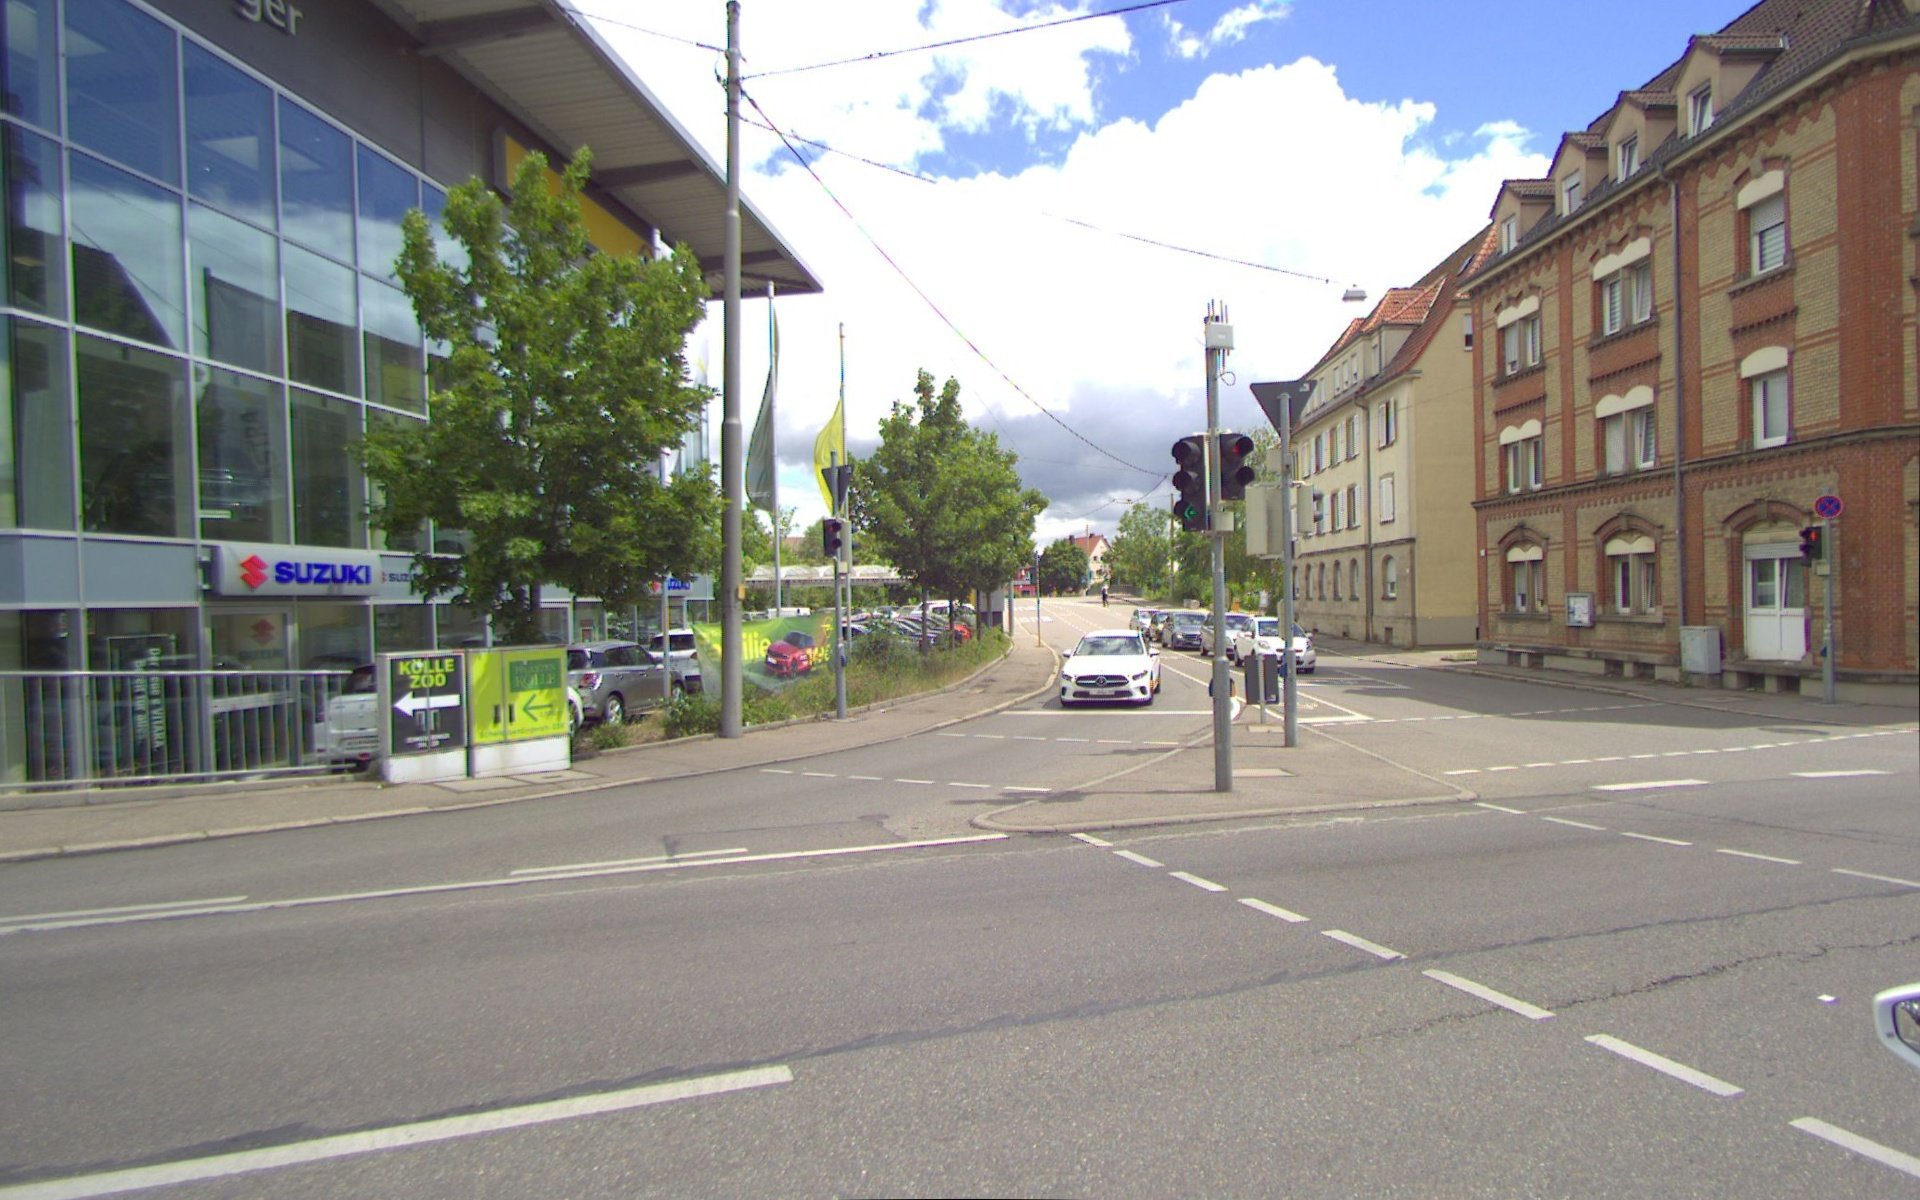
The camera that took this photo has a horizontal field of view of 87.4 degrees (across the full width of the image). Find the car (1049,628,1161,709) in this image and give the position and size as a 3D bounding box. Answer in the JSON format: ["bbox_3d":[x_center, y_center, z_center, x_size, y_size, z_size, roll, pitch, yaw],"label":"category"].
[{"bbox_3d":[3.085,1.326,20.634,1.825,1.466,4.394,-2,-2,14],"label":"car"}]

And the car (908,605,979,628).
[{"bbox_3d":[-0.956,0.965,59.315,3.919,1.311,1.819,1,-1,8],"label":"car"}]

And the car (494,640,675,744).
[{"bbox_3d":[-6.609,1.563,18.126,1.486,1.543,3.795,1,-1,6],"label":"car"}]

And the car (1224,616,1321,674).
[{"bbox_3d":[9.052,1.260,29.398,1.668,1.517,4.001,1,-1,1],"label":"car"}]

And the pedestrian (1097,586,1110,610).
[{"bbox_3d":[12.255,-0.170,85.523,0.945,2.040,0.867,1,0,18],"label":"pedestrian"}]

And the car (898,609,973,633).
[{"bbox_3d":[-1.354,1.171,56.533,3.919,1.311,1.819,1,-1,8],"label":"car"}]

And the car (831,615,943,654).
[{"bbox_3d":[-2.730,1.289,37.940,3.919,1.371,1.734,1,0,8],"label":"car"}]

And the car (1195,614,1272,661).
[{"bbox_3d":[9.673,1.305,35.855,1.713,1.539,4.001,1,-1,1],"label":"car"}]

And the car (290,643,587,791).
[{"bbox_3d":[-7.019,1.491,13.991,1.720,1.596,3.689,2,0,10],"label":"car"}]

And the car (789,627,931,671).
[{"bbox_3d":[-2.971,1.443,30.247,3.919,1.202,1.819,1,-1,8],"label":"car"}]

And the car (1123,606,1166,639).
[{"bbox_3d":[10.153,1.231,55.603,1.906,1.743,4.002,1,-1,4],"label":"car"}]

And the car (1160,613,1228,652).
[{"bbox_3d":[9.713,1.316,42.007,1.960,1.539,4.001,1,-1,1],"label":"car"}]

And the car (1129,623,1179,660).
[{"bbox_3d":[9.259,1.962,48.204,1.960,1.607,4.348,0,0,6],"label":"car"}]

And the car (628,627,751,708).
[{"bbox_3d":[-5.955,1.447,22.474,1.486,1.596,3.417,1,-1,6],"label":"car"}]

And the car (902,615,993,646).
[{"bbox_3d":[-0.550,1.380,45.958,3.919,1.311,1.819,1,-1,8],"label":"car"}]

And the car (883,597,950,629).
[{"bbox_3d":[-2.914,0.896,68.479,2.205,2.040,4.918,0,-1,32],"label":"car"}]

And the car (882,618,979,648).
[{"bbox_3d":[-1.228,1.416,43.275,3.919,1.202,1.819,1,-1,8],"label":"car"}]

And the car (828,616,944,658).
[{"bbox_3d":[-2.555,1.285,35.228,3.761,1.371,1.734,1,0,8],"label":"car"}]
